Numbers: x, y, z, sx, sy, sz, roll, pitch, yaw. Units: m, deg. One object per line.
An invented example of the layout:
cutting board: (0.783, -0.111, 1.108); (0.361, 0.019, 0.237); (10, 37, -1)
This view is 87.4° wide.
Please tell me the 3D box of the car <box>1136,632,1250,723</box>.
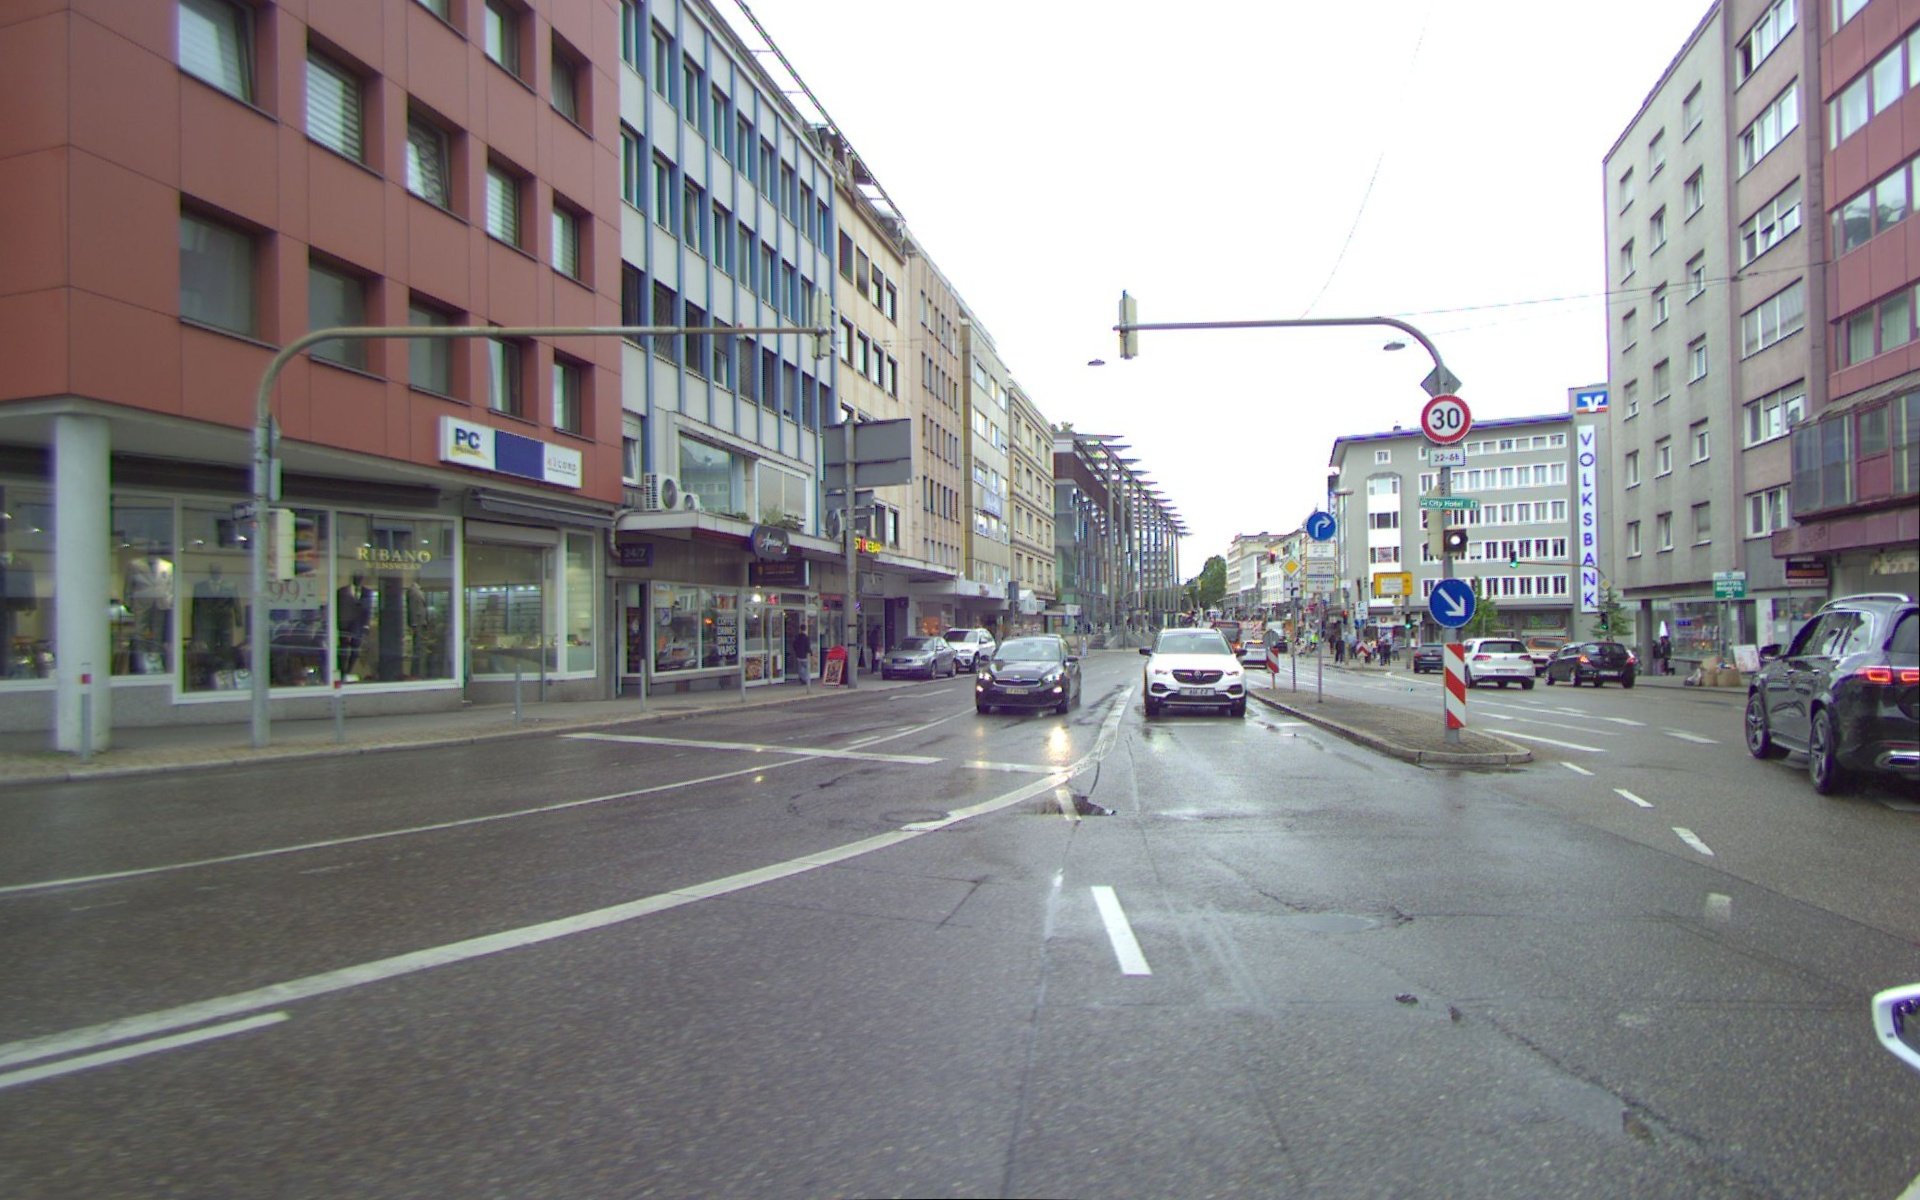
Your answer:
car: (4.571, 1.472, 20.103); (1.959, 1.577, 4.740); (0, -3, 11)

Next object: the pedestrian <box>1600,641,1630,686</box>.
pedestrian: (30.320, 2.942, 46.504); (0.840, 2.040, 0.812); (2, -2, -13)

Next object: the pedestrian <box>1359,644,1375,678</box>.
pedestrian: (24.732, 3.687, 61.004); (0.798, 2.040, 0.854); (1, -2, 25)

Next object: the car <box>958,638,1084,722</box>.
car: (1.396, 1.566, 20.724); (1.959, 1.501, 4.740); (0, -3, 11)

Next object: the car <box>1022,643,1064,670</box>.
car: (4.917, 3.289, 59.085); (1.959, 1.501, 4.740); (0, -3, 11)

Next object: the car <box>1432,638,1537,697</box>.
car: (15.744, 1.974, 30.369); (1.842, 1.514, 4.402); (2, -1, 15)

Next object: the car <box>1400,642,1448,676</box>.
car: (22.718, 2.893, 49.106); (1.963, 1.505, 4.233); (1, -3, 27)

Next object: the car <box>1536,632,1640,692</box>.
car: (20.519, 1.969, 33.012); (1.793, 1.680, 4.497); (3, 0, 18)

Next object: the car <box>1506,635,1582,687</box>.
car: (27.966, 2.876, 48.026); (2.216, 2.257, 5.404); (2, -1, 40)

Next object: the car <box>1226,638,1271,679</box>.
car: (15.101, 3.015, 52.739); (1.959, 1.813, 4.738); (2, 0, 13)

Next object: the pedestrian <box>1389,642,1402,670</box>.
pedestrian: (32.382, 4.130, 74.639); (0.798, 2.040, 0.854); (1, -2, 25)

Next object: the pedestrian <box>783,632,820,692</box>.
pedestrian: (-4.487, 1.732, 28.487); (0.813, 1.646, 0.724); (1, -1, 10)

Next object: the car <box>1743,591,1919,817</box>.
car: (9.333, 0.883, 9.833); (2.009, 1.822, 4.653); (-1, -2, 31)

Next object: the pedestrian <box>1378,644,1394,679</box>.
pedestrian: (25.303, 3.653, 59.693); (0.798, 2.040, 0.854); (1, -2, 25)

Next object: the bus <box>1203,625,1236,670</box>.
bus: (24.699, 4.603, 95.958); (2.860, 4.004, 9.493); (0, -3, 13)

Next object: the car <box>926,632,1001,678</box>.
car: (0.216, 2.131, 40.105); (1.959, 1.639, 4.739); (1, -1, 12)

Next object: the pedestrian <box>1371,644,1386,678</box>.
pedestrian: (25.816, 3.750, 61.925); (0.798, 2.040, 0.854); (1, -2, 25)

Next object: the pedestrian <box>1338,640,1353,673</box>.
pedestrian: (24.455, 3.577, 63.682); (0.798, 2.040, 0.854); (1, -2, 25)

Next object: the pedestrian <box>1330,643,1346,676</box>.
pedestrian: (23.477, 3.693, 62.352); (0.798, 2.040, 0.854); (1, -2, 25)

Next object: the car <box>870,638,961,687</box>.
car: (-1.406, 2.067, 34.033); (1.959, 1.426, 4.739); (1, -1, 11)

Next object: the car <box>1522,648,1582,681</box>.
car: (31.805, 3.446, 53.940); (1.902, 1.535, 4.640); (4, 0, 41)
